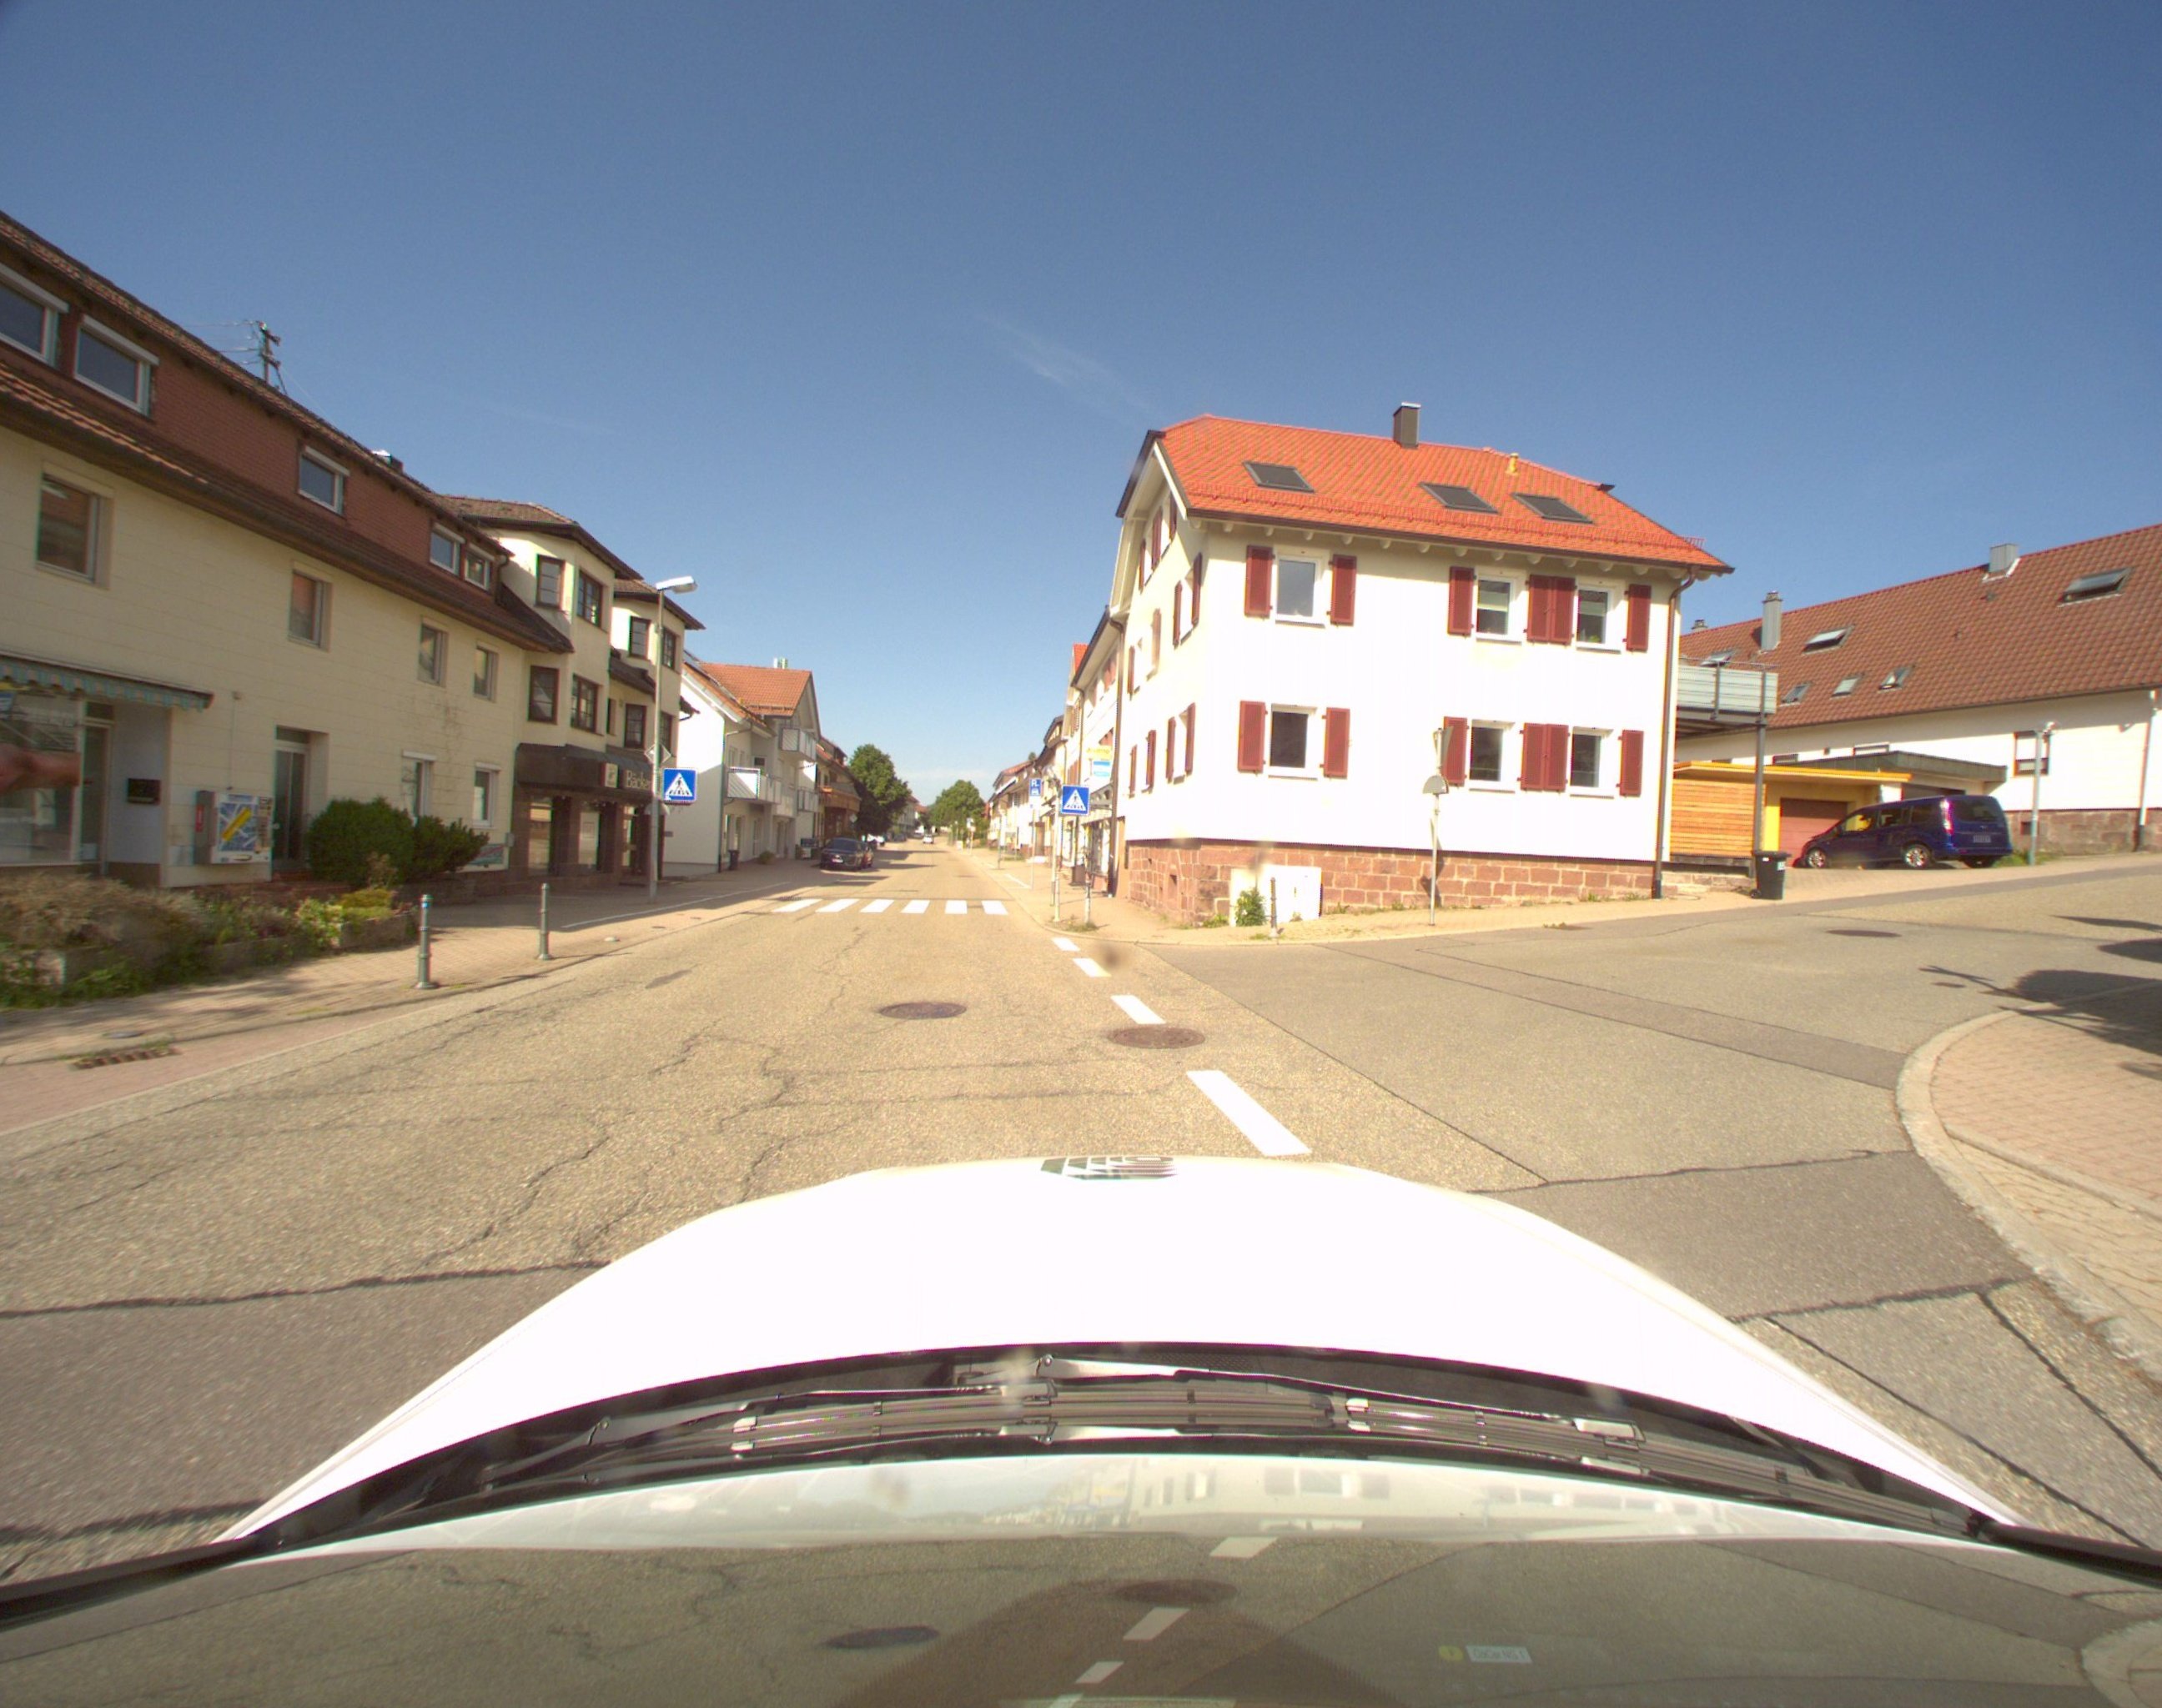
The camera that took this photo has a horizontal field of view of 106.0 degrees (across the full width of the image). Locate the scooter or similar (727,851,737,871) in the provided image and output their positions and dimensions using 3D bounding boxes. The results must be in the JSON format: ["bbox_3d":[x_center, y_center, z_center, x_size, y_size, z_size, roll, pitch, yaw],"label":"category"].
[{"bbox_3d":[-15.594,0.320,36.368,0.352,0.890,0.393,0,0,-14],"label":"scooter or similar"}]

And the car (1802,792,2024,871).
[{"bbox_3d":[21.962,-0.564,21.753,1.722,1.865,3.996,-2,1,-3],"label":"car"}]

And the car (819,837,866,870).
[{"bbox_3d":[-12.440,-0.041,42.617,1.671,1.533,3.526,6,0,-7],"label":"car"}]

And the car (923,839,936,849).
[{"bbox_3d":[-30.356,-1.973,163.290,2.495,2.013,4.291,0,0,-9],"label":"car"}]

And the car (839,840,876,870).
[{"bbox_3d":[-13.127,0.051,47.946,1.669,1.674,3.303,0,0,-7],"label":"car"}]
